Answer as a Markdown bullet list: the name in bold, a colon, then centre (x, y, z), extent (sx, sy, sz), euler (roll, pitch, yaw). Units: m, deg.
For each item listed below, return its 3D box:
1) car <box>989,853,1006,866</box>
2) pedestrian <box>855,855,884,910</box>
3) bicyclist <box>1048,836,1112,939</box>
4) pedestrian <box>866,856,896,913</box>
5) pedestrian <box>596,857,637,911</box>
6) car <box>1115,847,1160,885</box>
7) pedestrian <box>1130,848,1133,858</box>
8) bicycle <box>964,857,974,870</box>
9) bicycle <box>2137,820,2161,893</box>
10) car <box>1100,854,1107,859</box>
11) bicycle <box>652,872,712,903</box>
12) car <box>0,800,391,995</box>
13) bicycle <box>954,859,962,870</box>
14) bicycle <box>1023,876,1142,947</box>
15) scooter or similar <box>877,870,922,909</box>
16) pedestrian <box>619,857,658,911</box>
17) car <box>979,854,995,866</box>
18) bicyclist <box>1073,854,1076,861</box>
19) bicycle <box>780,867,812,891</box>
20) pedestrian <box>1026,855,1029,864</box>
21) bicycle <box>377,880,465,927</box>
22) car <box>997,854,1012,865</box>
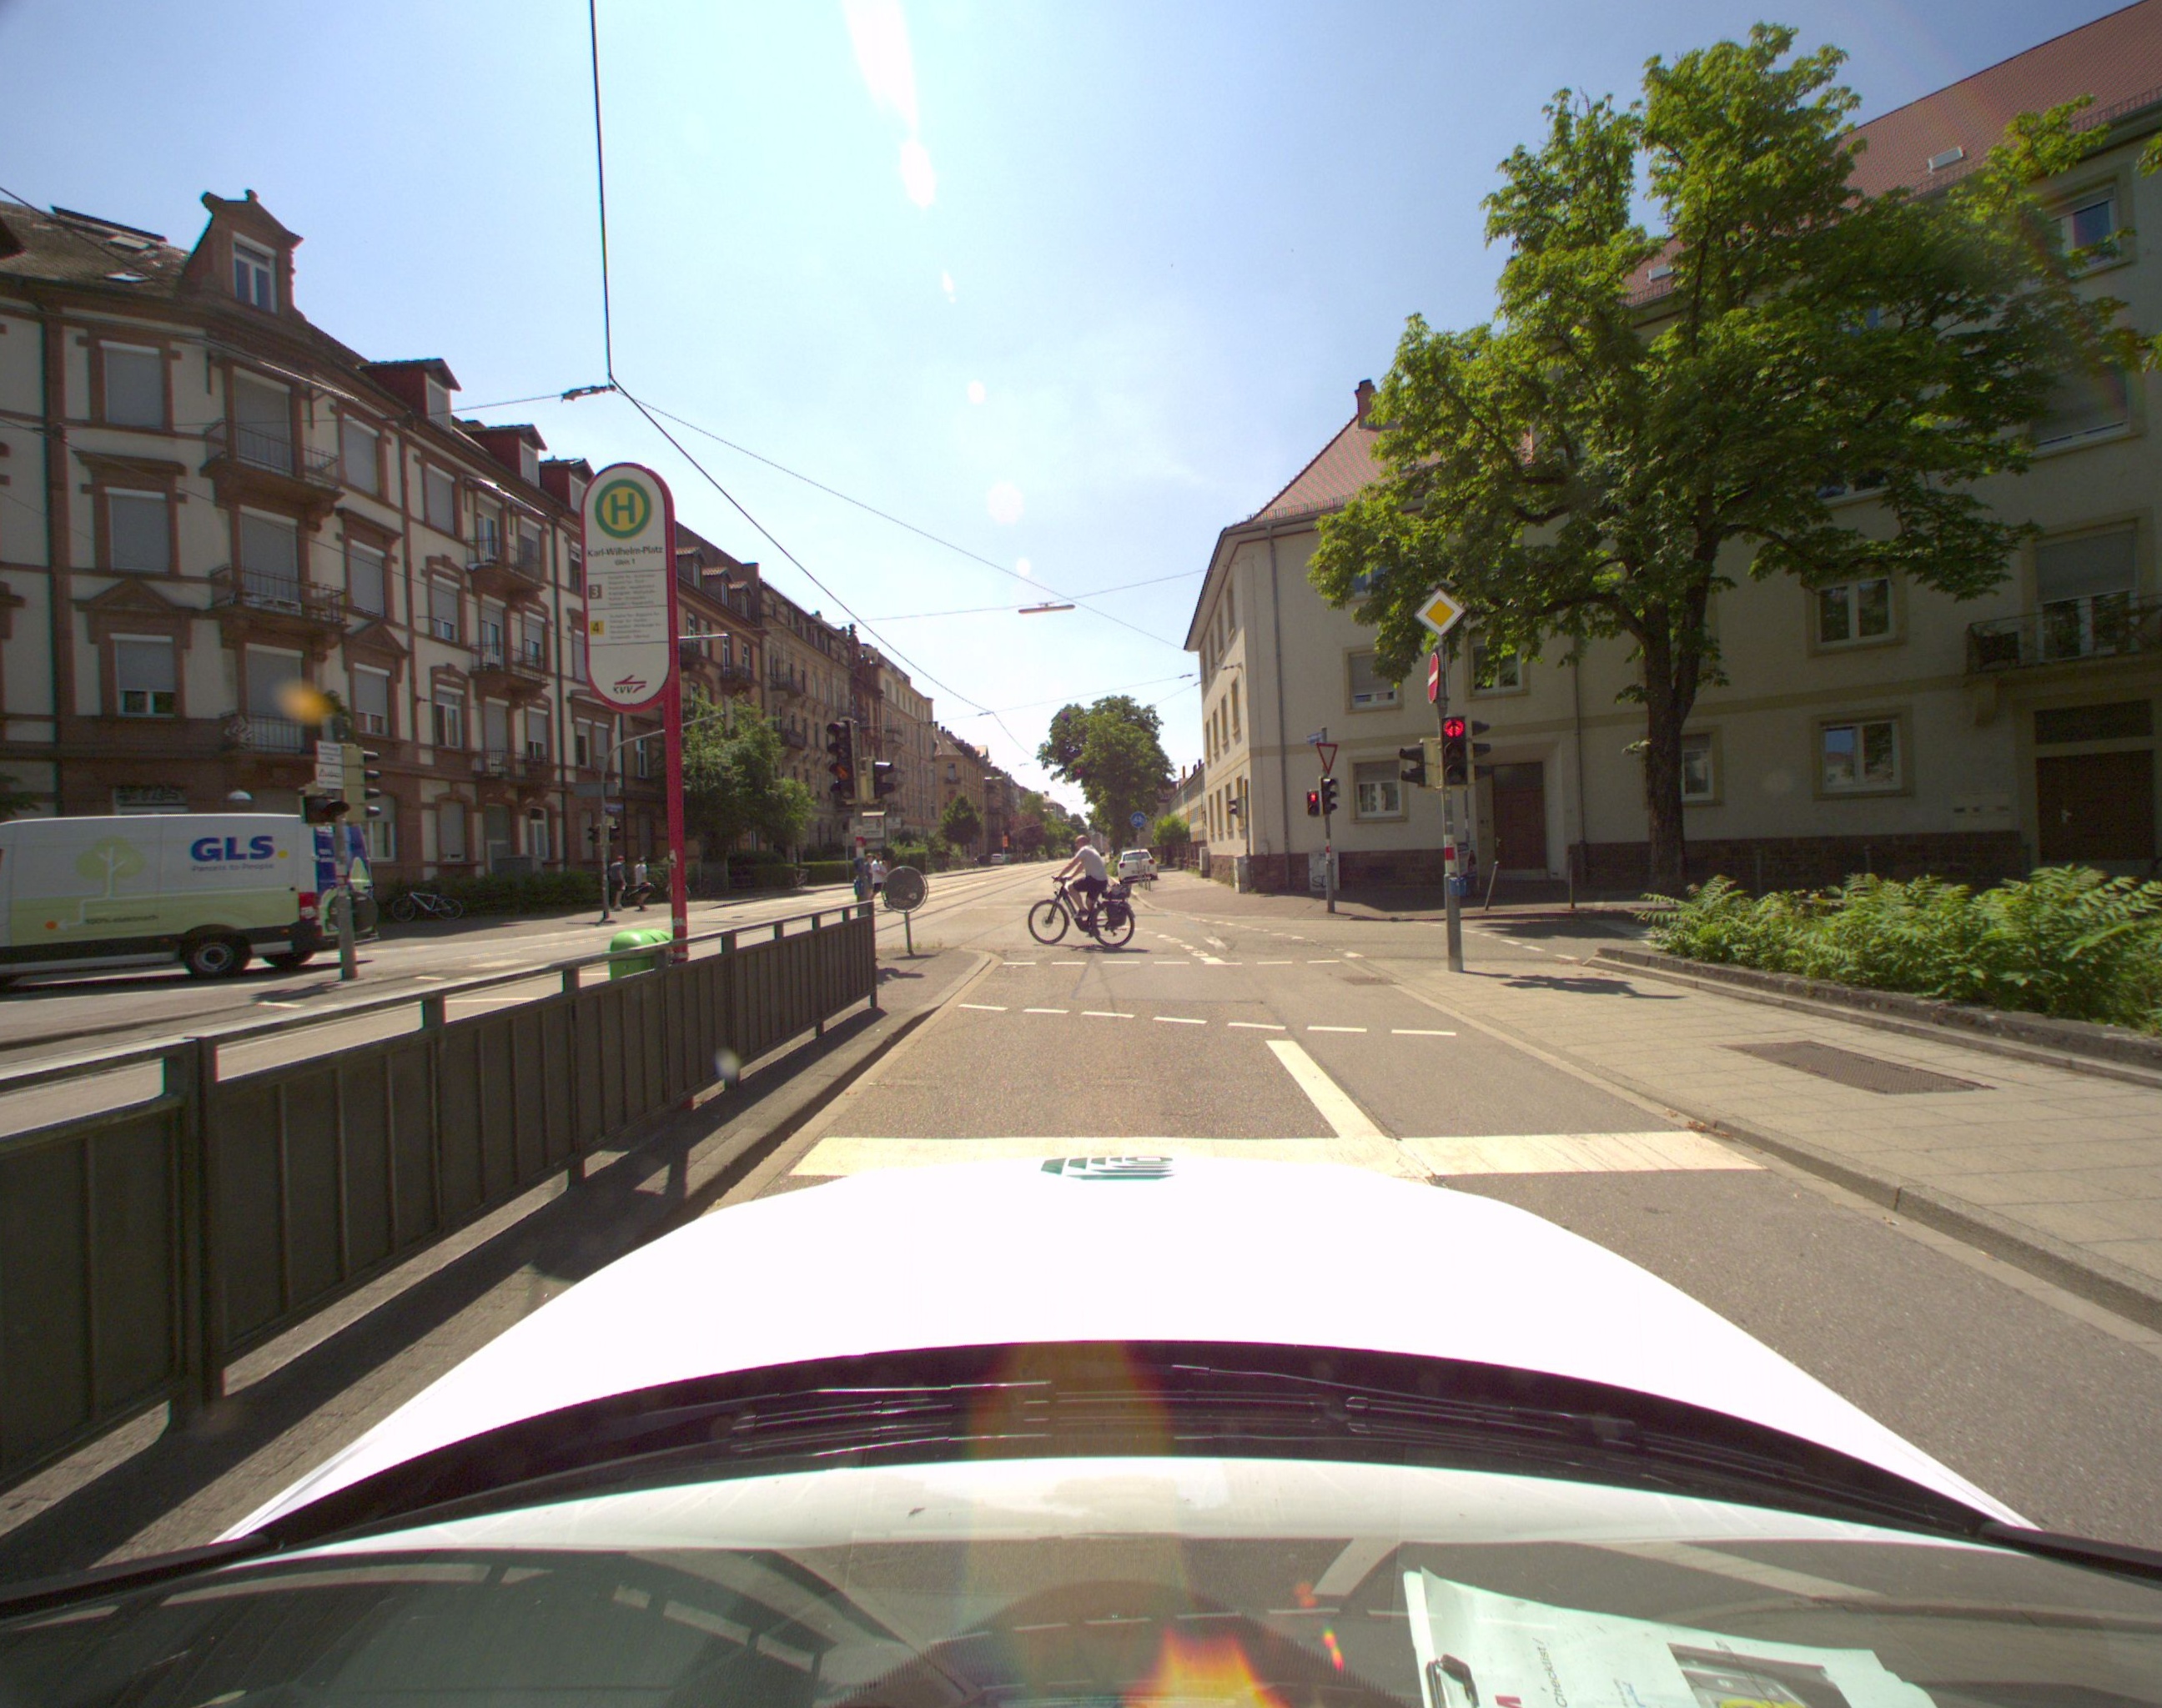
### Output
- **car**: centre (-11.873, 0.800, 116.065), extent (1.912, 1.715, 4.001), euler (0, -1, 2)
- **pedestrian**: centre (-6.436, 0.871, 24.800), extent (0.671, 1.645, 0.559), euler (0, -1, 7)
- **bicyclist**: centre (-0.003, 0.522, 13.017), extent (0.841, 1.592, 0.702), euler (-2, -1, 12)
- **pedestrian**: centre (-5.839, 0.873, 23.781), extent (0.671, 1.645, 0.559), euler (0, -1, 7)
- **pedestrian**: centre (-16.023, 1.025, 28.108), extent (0.811, 1.822, 0.876), euler (0, 1, 9)
- **car**: centre (2.532, 0.528, 37.421), extent (1.808, 1.516, 4.001), euler (-4, -1, 2)
- **pedestrian**: centre (8.267, -0.161, 133.478), extent (0.519, 1.562, 0.573), euler (-2, 0, 1)
- **bicycle**: centre (-11.702, 0.950, 85.136), extent (0.675, 1.278, 1.918), euler (-2, 0, -1)
- **bicycle**: centre (17.017, 0.020, 12.083), extent (0.527, 1.104, 1.589), euler (-2, 0, -34)
- **car**: centre (6.462, 0.740, 234.649), extent (1.818, 1.519, 4.001), euler (0, 0, 2)
- **bicycle**: centre (-15.663, 1.299, 32.082), extent (0.934, 1.136, 2.774), euler (0, -1, 1)
- **car**: centre (-15.093, 0.647, 12.886), extent (5.826, 2.673, 2.260), euler (-3, 0, -19)
- **bicycle**: centre (-12.147, 1.023, 80.499), extent (0.677, 1.064, 1.912), euler (-2, 0, -9)
- **bicycle**: centre (0.032, 0.918, 13.025), extent (1.749, 1.057, 0.702), euler (-2, -1, 12)
- **scooter or similar**: centre (-5.503, 1.066, 24.712), extent (1.195, 1.155, 0.559), euler (0, -1, 4)
- **pedestrian**: centre (-15.255, 1.015, 28.095), extent (0.811, 1.822, 0.876), euler (0, 1, 9)
- **car**: centre (-14.325, 0.885, 124.467), extent (1.912, 1.715, 4.001), euler (0, -1, 2)
- **bicyclist**: centre (-1.618, 0.978, 216.719), extent (0.724, 1.818, 1.080), euler (0, -1, 3)
- **bicycle**: centre (-14.405, 1.252, 41.254), extent (0.936, 1.136, 2.767), euler (0, -1, -7)
- **pedestrian**: centre (-8.850, 0.848, 135.502), extent (0.404, 1.461, 0.436), euler (-2, 0, 1)
- **bicycle**: centre (-19.548, 1.437, 24.160), extent (0.557, 1.294, 1.975), euler (-1, -1, 43)
- **car**: centre (-11.652, 0.864, 124.329), extent (1.912, 1.715, 4.001), euler (0, -1, 2)
